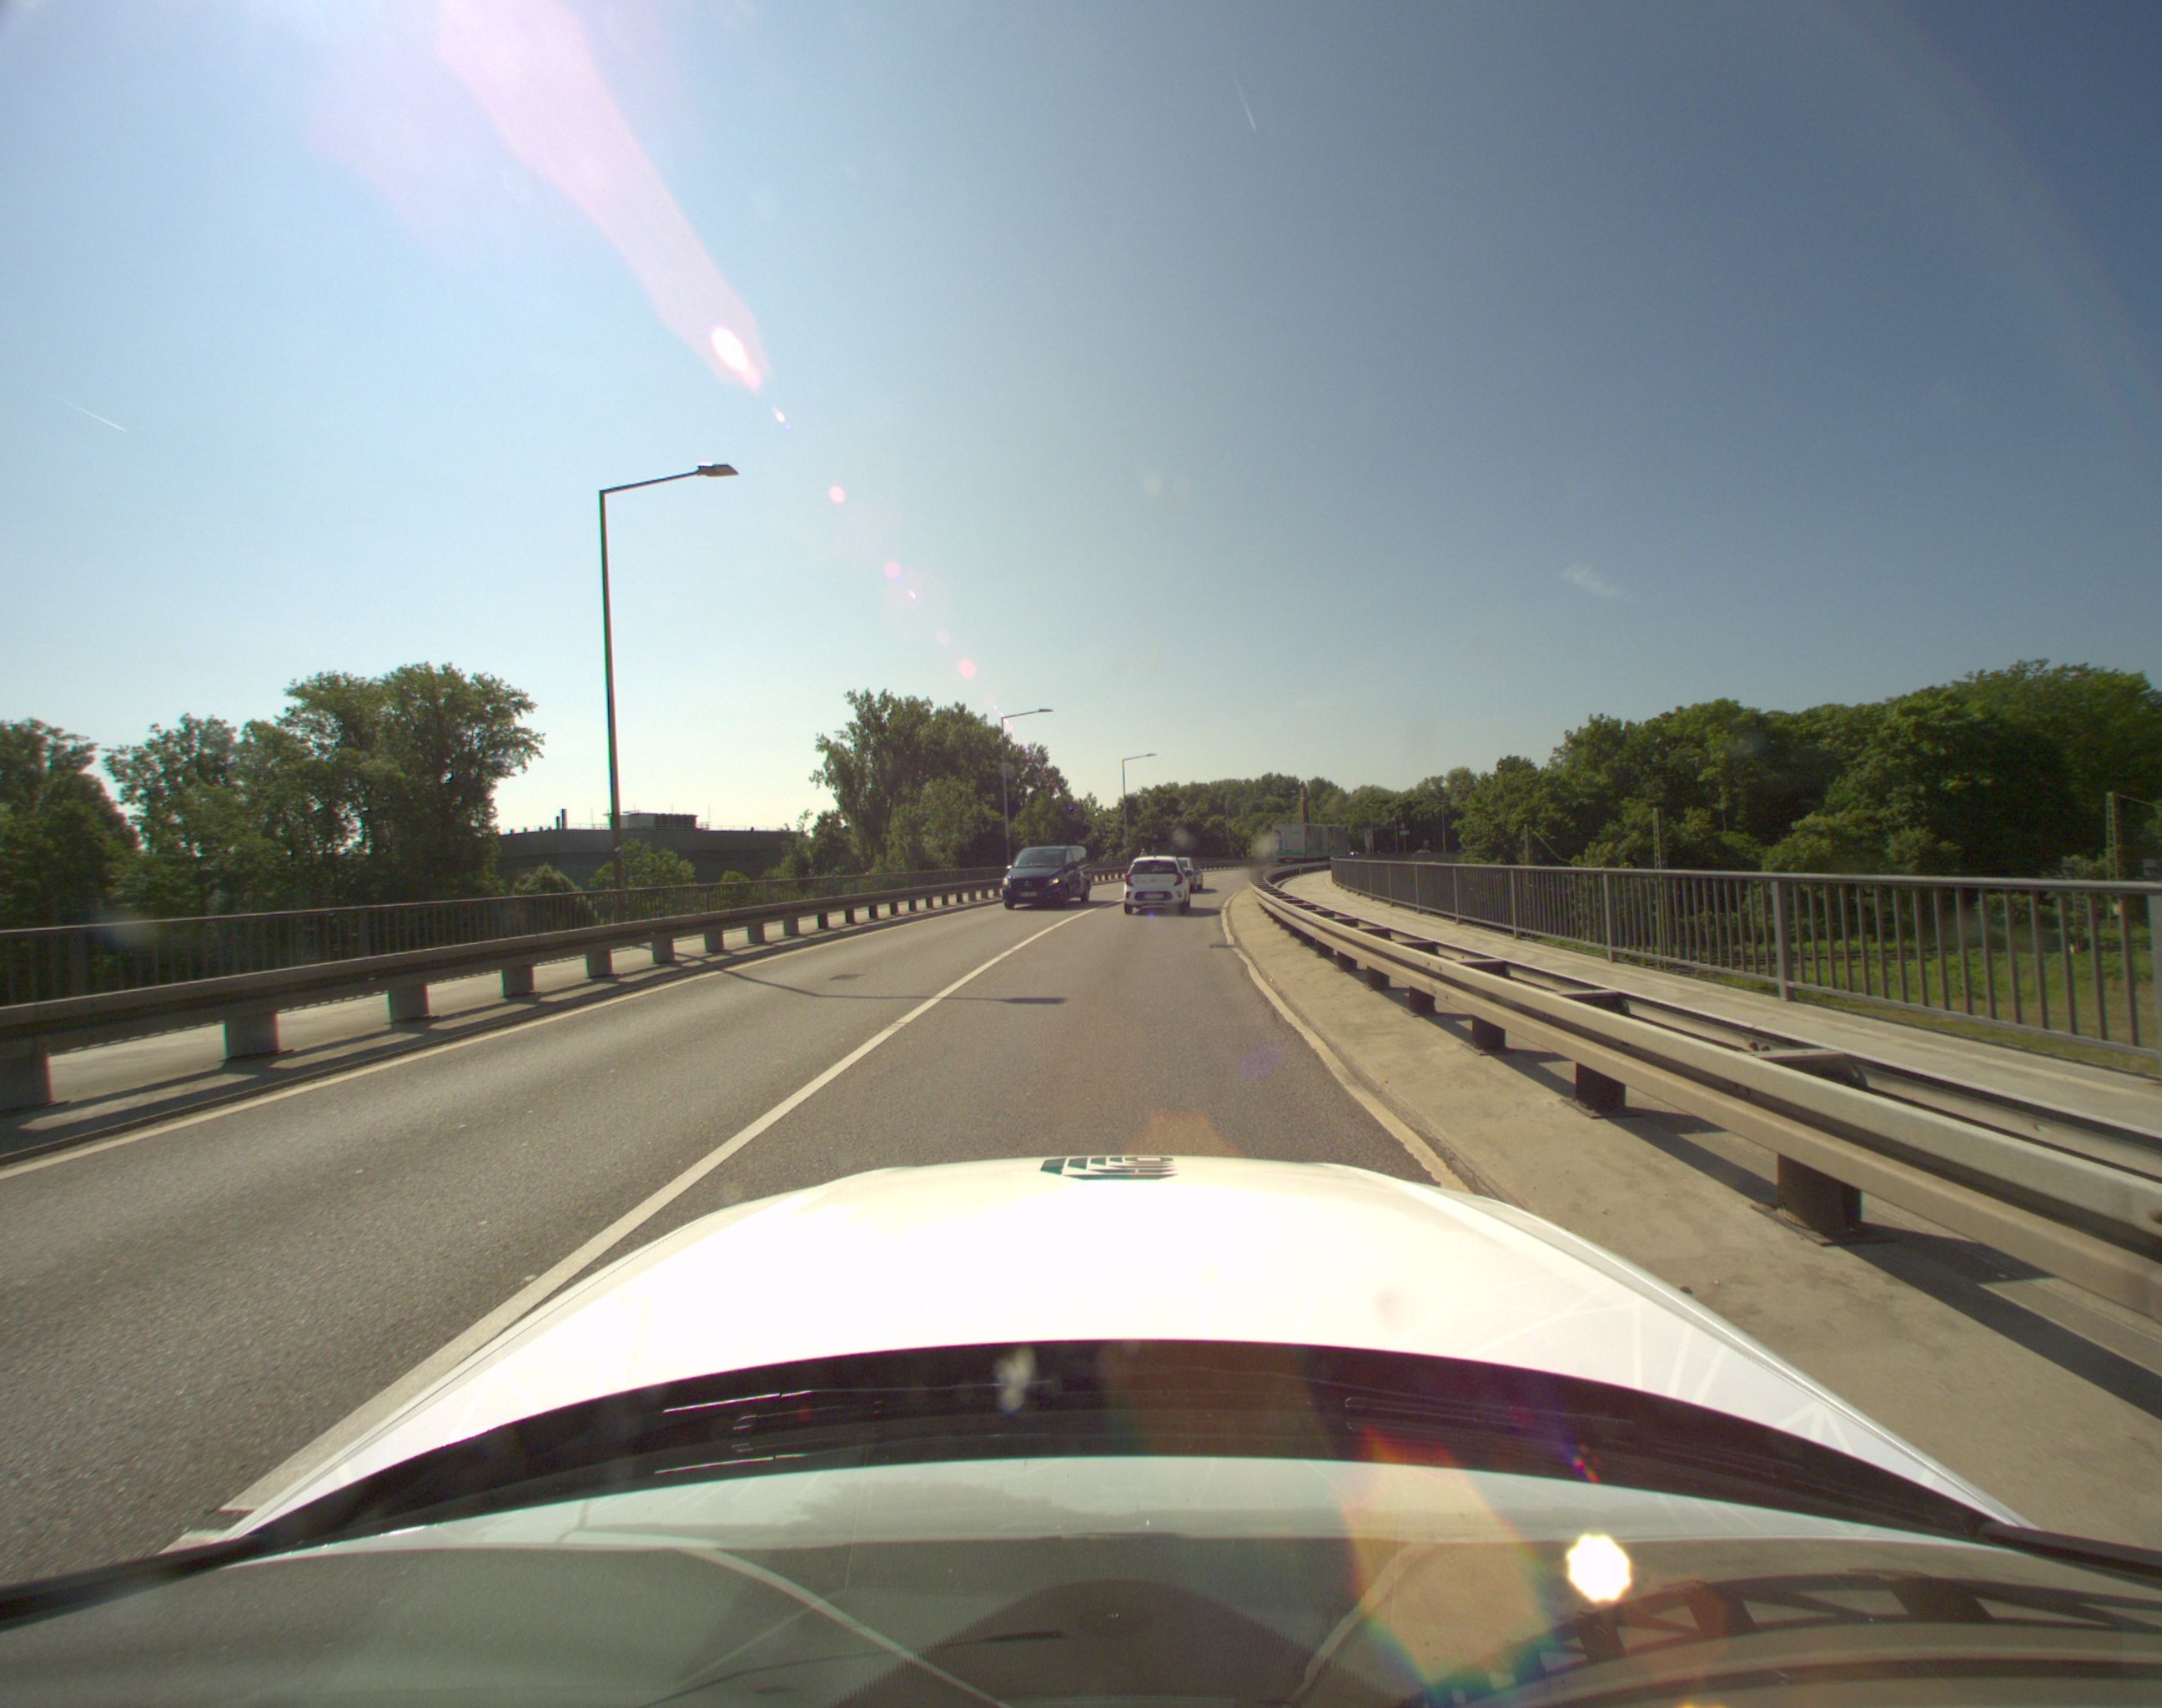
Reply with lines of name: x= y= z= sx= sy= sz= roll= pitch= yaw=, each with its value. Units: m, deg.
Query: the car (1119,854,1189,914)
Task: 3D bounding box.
car: x=2.101 y=0.774 z=22.416 sx=1.692 sy=1.494 sz=4.009 roll=0 pitch=-1 yaw=8

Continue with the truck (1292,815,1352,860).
truck: x=21.400 y=-1.448 z=71.875 sx=3.229 sy=3.758 sz=8.423 roll=1 pitch=1 yaw=29

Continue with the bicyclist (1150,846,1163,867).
bicyclist: x=5.524 y=0.200 z=59.314 sx=0.654 sy=1.496 sz=1.022 roll=-1 pitch=2 yaw=22

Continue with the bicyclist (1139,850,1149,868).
bicyclist: x=4.669 y=0.342 z=60.412 sx=0.484 sy=1.329 sz=0.951 roll=-1 pitch=-1 yaw=19

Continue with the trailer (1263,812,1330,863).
trailer: x=17.086 y=-1.321 z=64.240 sx=3.194 sy=3.758 sz=7.873 roll=1 pitch=1 yaw=29

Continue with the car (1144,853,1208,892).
car: x=4.081 y=0.736 z=34.153 sx=1.924 sy=1.486 sz=4.920 roll=-1 pitch=0 yaw=15

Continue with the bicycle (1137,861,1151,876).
bicycle: x=4.702 y=1.046 z=60.504 sx=0.569 sy=1.046 sz=1.718 roll=-3 pitch=0 yaw=20

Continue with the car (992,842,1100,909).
car: x=-0.935 y=0.640 z=26.268 sx=2.062 sy=1.888 sz=5.933 roll=-2 pitch=-1 yaw=11
